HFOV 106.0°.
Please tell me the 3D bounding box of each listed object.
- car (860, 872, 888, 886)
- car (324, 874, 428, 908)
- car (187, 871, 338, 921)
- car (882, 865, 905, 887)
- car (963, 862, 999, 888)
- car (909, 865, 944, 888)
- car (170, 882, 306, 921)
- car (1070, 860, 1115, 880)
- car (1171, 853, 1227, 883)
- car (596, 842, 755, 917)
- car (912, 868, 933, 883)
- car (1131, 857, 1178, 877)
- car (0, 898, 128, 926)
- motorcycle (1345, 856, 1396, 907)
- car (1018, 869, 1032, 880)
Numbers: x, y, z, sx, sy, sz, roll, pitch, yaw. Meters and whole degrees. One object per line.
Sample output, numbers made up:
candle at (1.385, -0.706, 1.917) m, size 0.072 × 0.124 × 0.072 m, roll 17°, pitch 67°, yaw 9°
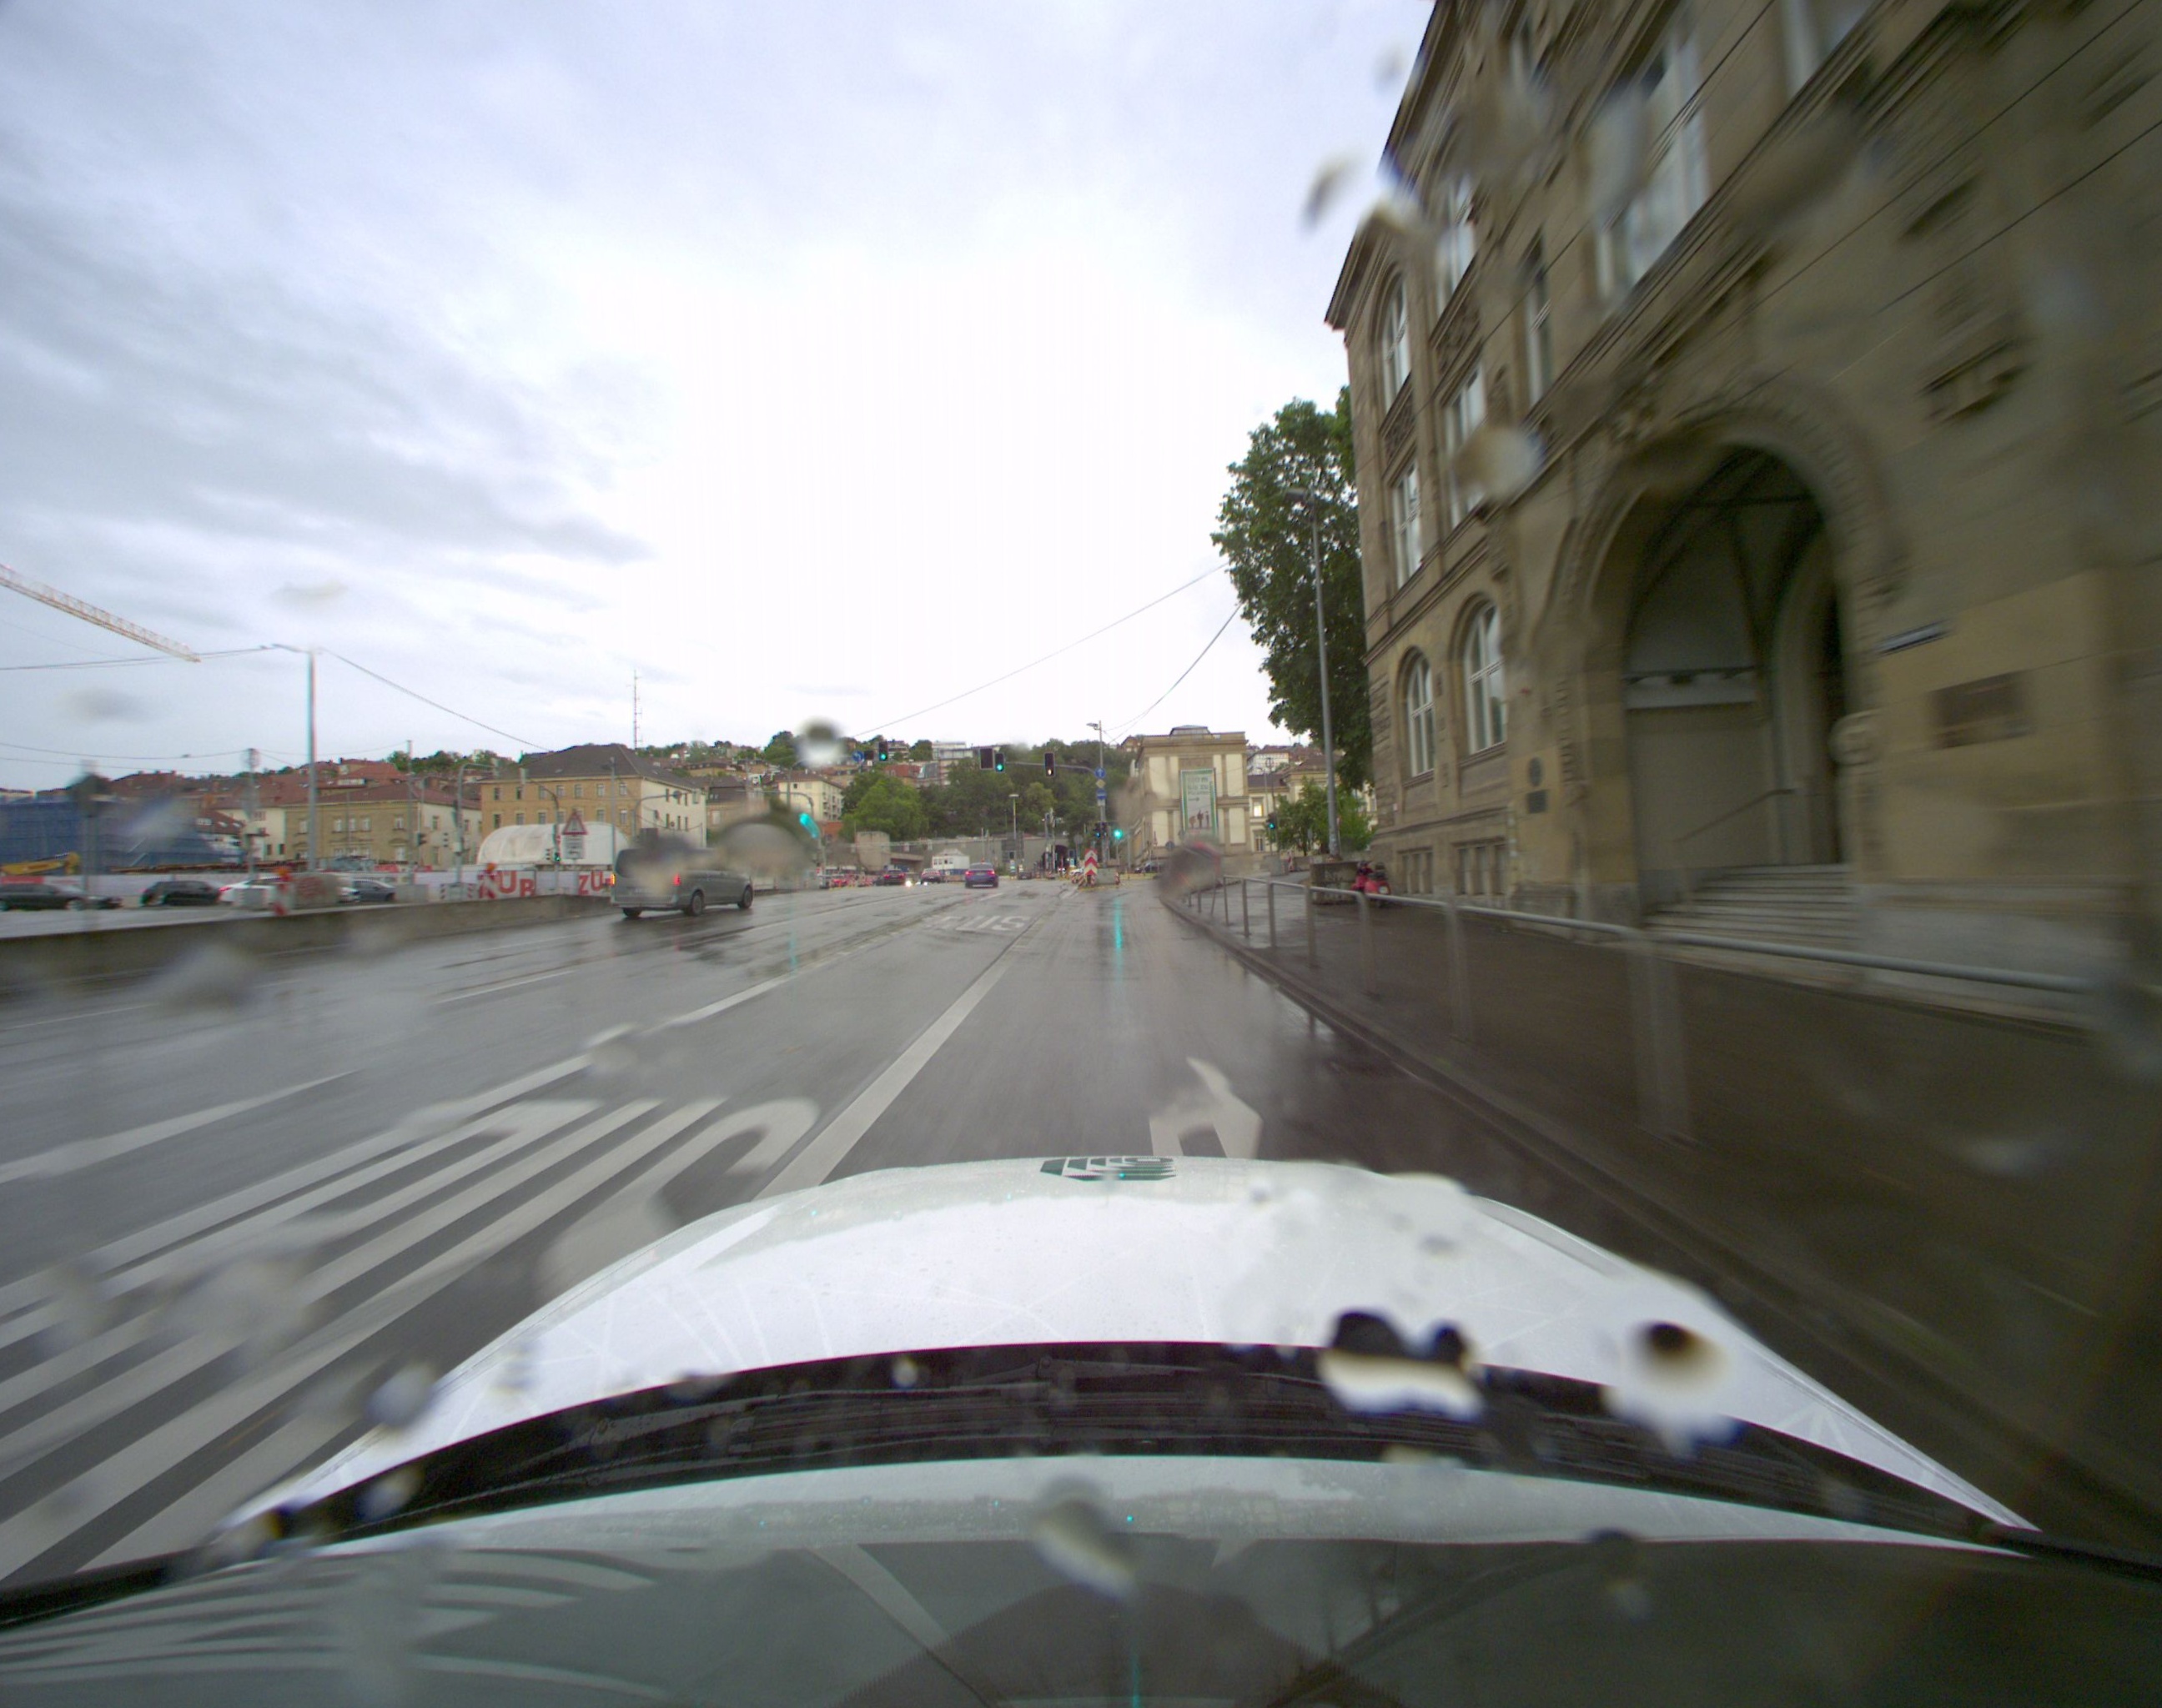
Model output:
car at (-23.455, 2.815, 92.305) m, size 1.789 × 1.464 × 3.956 m, roll -1°, pitch 0°, yaw -36°
car at (-38.240, 1.984, 44.272) m, size 3.801 × 1.566 × 1.849 m, roll -2°, pitch 0°, yaw -19°
car at (-37.468, 1.887, 37.450) m, size 4.429 × 2.013 × 1.984 m, roll -2°, pitch 0°, yaw -24°
car at (-16.532, 1.910, 71.820) m, size 1.779 × 1.750 × 3.979 m, roll -1°, pitch 0°, yaw -15°
car at (-5.898, 1.217, 47.774) m, size 1.992 × 1.438 × 3.989 m, roll -1°, pitch -1°, yaw -8°
car at (-14.656, 2.121, 77.051) m, size 2.006 × 2.013 × 4.254 m, roll -1°, pitch 0°, yaw -29°
car at (-43.646, 2.442, 42.327) m, size 4.429 × 1.717 × 1.984 m, roll -2°, pitch 0°, yaw -24°
car at (1.241, 1.684, 86.352) m, size 4.616 × 2.013 × 1.998 m, roll -1°, pitch 0°, yaw -4°
car at (6.095, 0.713, 41.725) m, size 1.654 × 1.427 × 3.780 m, roll -3°, pitch -1°, yaw 27°
car at (-11.152, 0.669, 22.852) m, size 1.986 × 1.839 × 4.684 m, roll -1°, pitch -1°, yaw 1°
car at (-23.723, 3.222, 122.318) m, size 1.984 × 2.013 × 4.006 m, roll -1°, pitch 0°, yaw 5°
car at (7.816, 1.409, 86.866) m, size 4.664 × 2.013 × 1.998 m, roll -1°, pitch 0°, yaw -4°
car at (-50.263, 2.825, 40.042) m, size 4.278 × 1.178 × 1.644 m, roll 0°, pitch 0°, yaw -12°
motorcycle at (6.944, 0.632, 19.611) m, size 0.544 × 1.138 × 1.899 m, roll -2°, pitch 0°, yaw 1°
car at (-7.400, 2.698, 107.598) m, size 1.488 × 1.354 × 4.001 m, roll 0°, pitch 0°, yaw 2°
